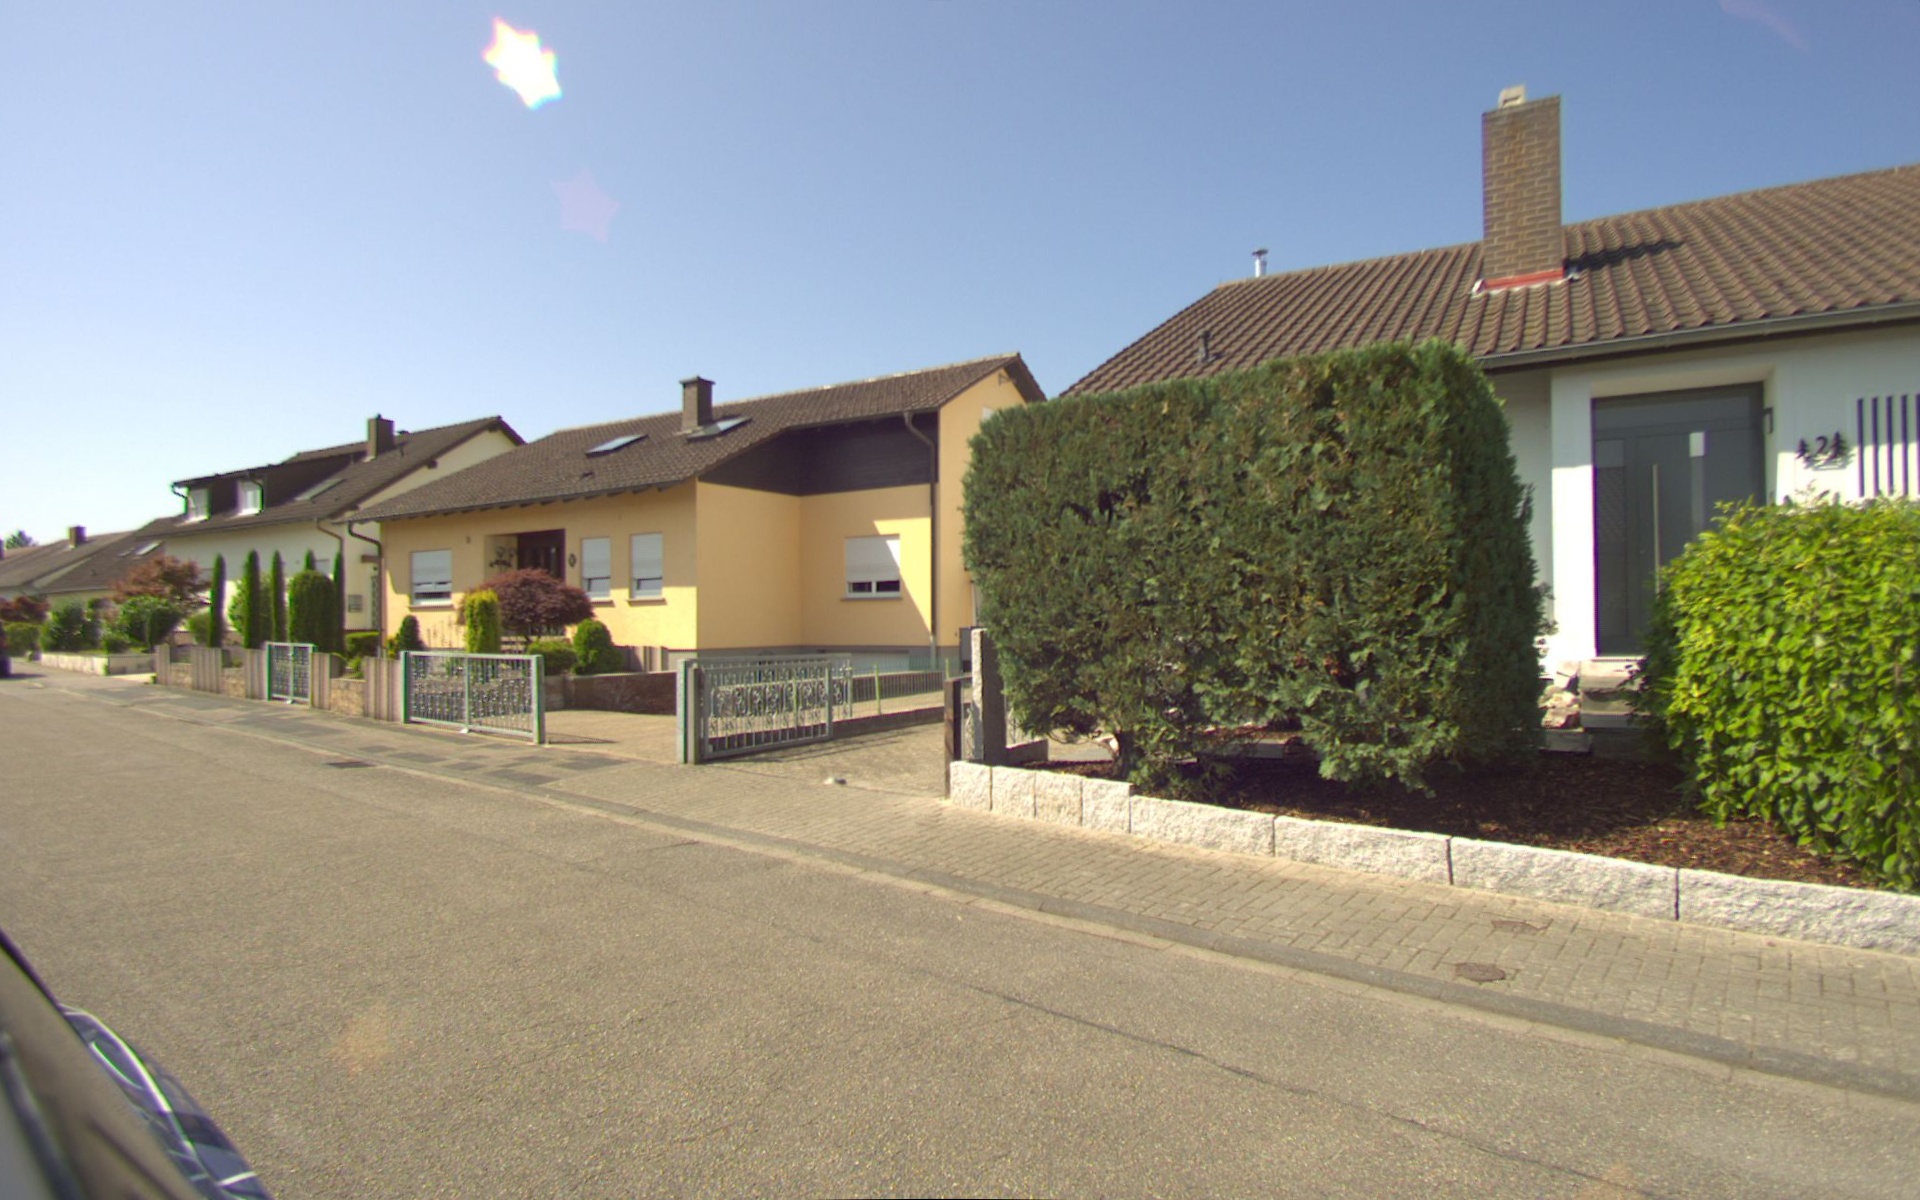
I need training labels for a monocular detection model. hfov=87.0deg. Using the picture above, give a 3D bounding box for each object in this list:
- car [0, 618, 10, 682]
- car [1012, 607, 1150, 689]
[{"bbox_3d":[-28.838,1.446,29.165,3.650,1.791,1.746,-2,-2,41],"label":"car"},{"bbox_3d":[2.685,1.004,21.851,1.543,1.623,3.661,-1,-2,32],"label":"car"}]
